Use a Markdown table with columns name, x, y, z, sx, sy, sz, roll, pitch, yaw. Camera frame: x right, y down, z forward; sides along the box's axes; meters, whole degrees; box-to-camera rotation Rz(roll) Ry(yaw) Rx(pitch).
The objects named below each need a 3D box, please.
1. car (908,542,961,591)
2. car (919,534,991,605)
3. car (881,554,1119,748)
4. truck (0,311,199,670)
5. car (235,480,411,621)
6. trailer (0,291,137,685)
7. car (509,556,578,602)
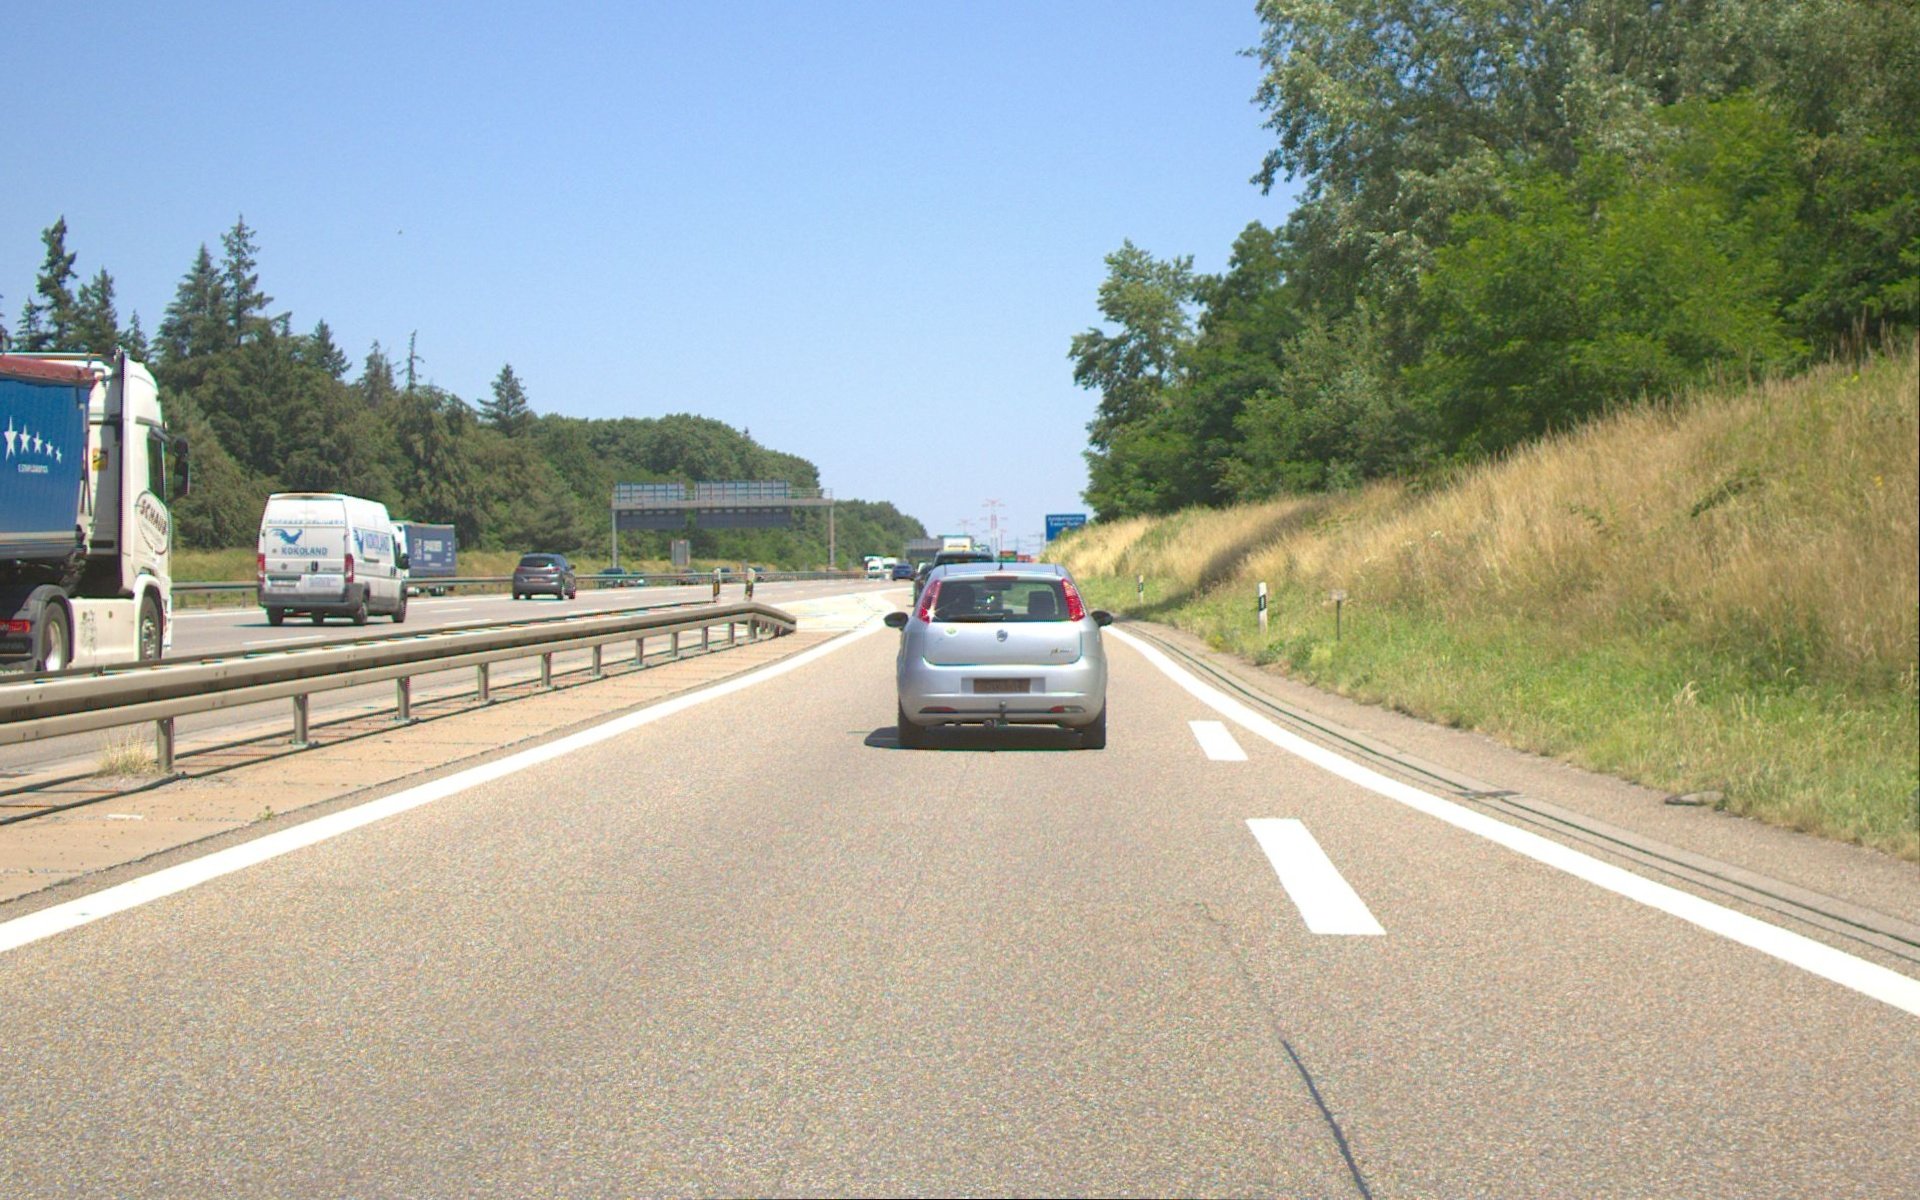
| name | x | y | z | sx | sy | sz | roll | pitch | yaw |
| --- | --- | --- | --- | --- | --- | --- | --- | --- | --- |
| car | -0.858 | -1.088 | 112.906 | 1.706 | 1.503 | 3.398 | 0 | -1 | -1 |
| car | -0.134 | -0.737 | 84.228 | 1.706 | 1.670 | 3.398 | 0 | -1 | -1 |
| car | 0.273 | 0.366 | 28.167 | 1.706 | 1.476 | 3.398 | 0 | 1 | -3 |
| truck | -10.520 | -1.199 | 38.745 | 2.756 | 3.794 | 4.622 | 0 | 1 | 1 |
| car | -13.659 | -1.007 | 74.171 | 2.632 | 2.887 | 6.475 | 0 | -1 | 0 |
| trailer | -10.637 | -1.084 | 33.278 | 2.771 | 3.794 | 9.885 | 0 | 1 | 1 |
| car | -15.027 | -0.758 | 124.213 | 1.993 | 1.612 | 4.000 | 0 | -1 | 0 |
